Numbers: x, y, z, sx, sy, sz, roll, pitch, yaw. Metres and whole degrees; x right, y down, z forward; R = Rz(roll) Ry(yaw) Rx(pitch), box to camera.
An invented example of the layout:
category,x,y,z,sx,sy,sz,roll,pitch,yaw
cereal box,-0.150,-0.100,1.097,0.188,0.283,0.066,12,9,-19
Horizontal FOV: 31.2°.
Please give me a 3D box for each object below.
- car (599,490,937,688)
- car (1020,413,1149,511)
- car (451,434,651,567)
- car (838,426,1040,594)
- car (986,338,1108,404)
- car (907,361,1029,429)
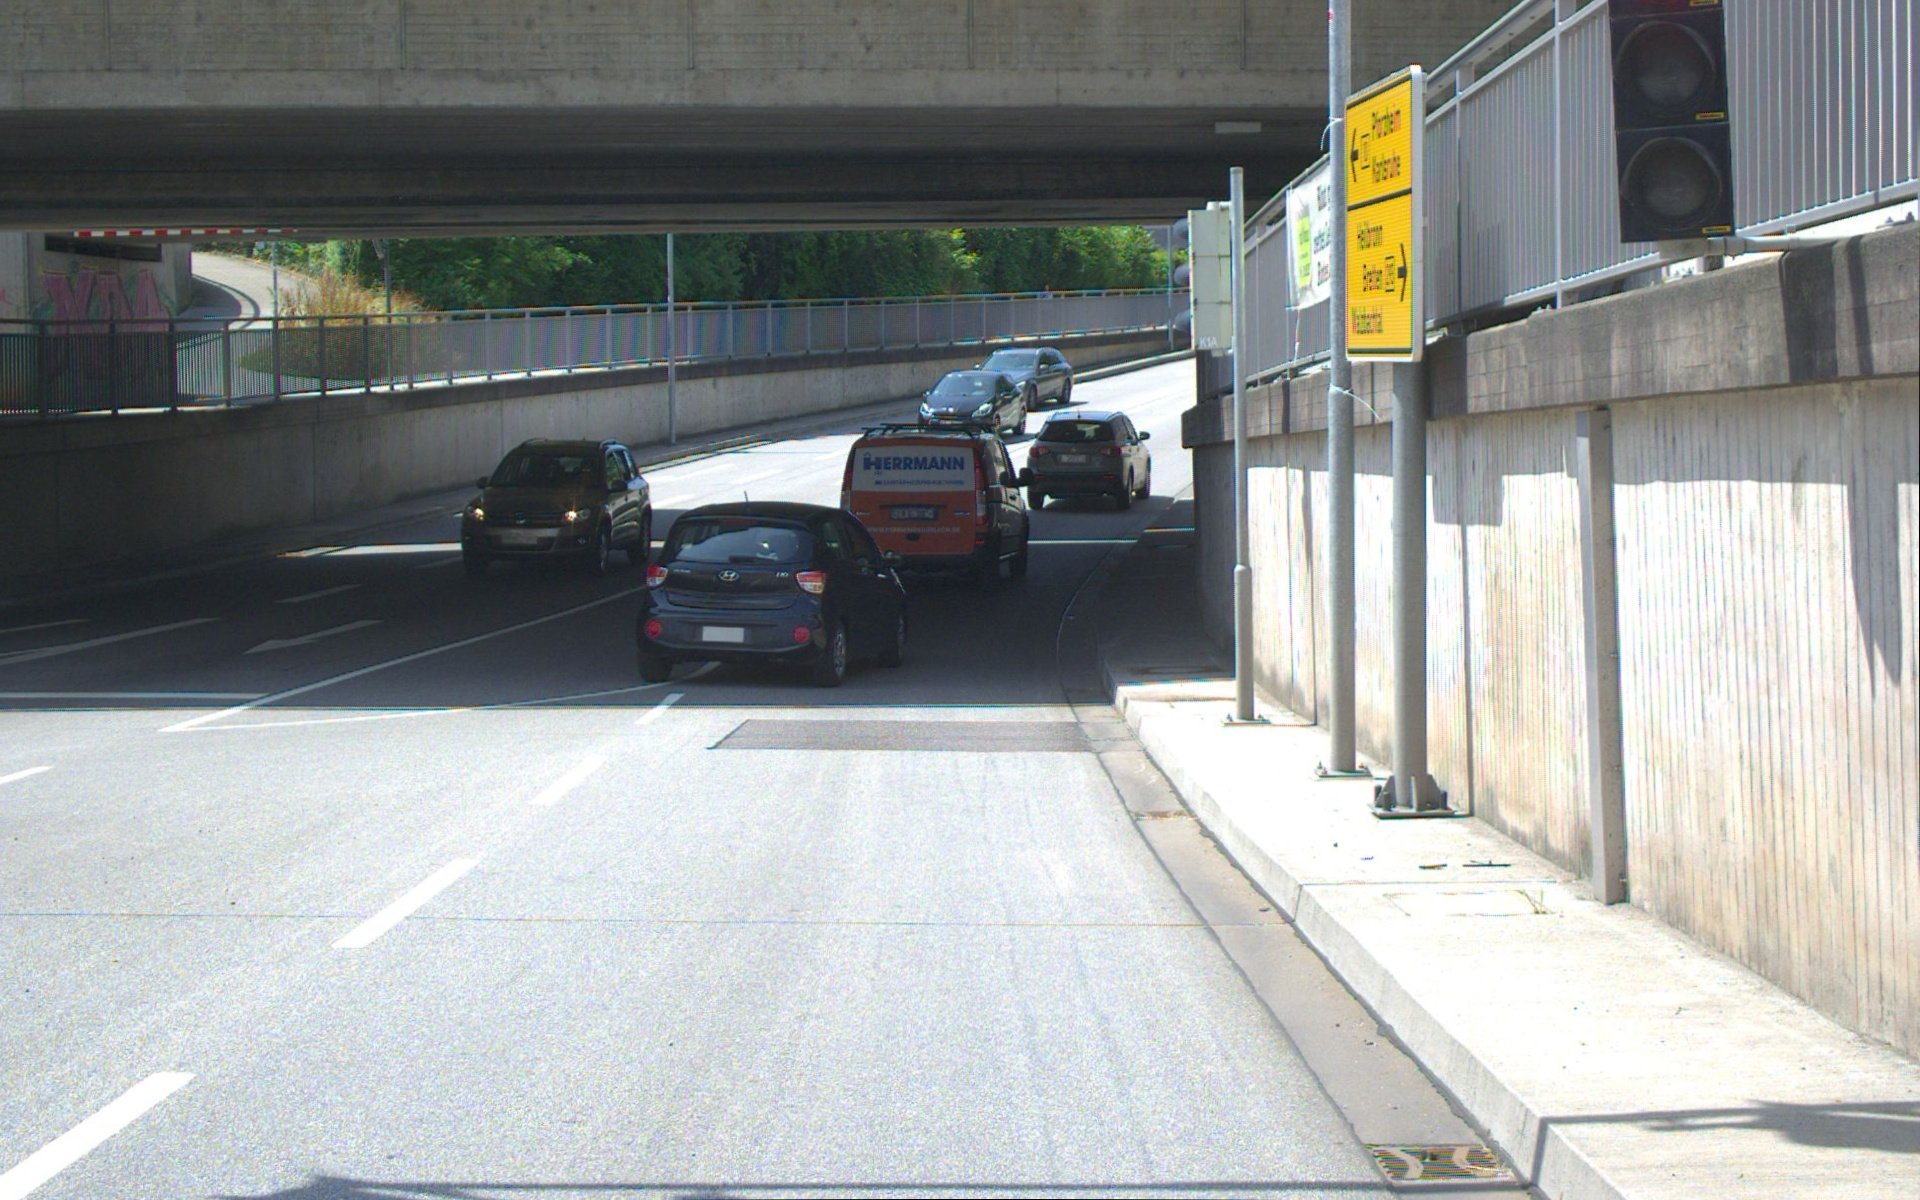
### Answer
category,x,y,z,sx,sy,sz,roll,pitch,yaw
car,-1.551,-0.157,29.374,1.994,1.502,3.999,0,3,10
car,2.164,-2.400,58.940,1.805,1.612,3.999,1,3,8
car,-5.297,-1.344,45.023,1.993,1.621,4.001,0,3,2
car,-0.199,-1.177,42.745,1.873,1.925,4.719,0,3,8
car,2.170,-5.639,84.951,1.995,1.583,3.997,1,3,17
car,0.206,-4.474,75.074,1.783,1.431,3.998,1,3,13
